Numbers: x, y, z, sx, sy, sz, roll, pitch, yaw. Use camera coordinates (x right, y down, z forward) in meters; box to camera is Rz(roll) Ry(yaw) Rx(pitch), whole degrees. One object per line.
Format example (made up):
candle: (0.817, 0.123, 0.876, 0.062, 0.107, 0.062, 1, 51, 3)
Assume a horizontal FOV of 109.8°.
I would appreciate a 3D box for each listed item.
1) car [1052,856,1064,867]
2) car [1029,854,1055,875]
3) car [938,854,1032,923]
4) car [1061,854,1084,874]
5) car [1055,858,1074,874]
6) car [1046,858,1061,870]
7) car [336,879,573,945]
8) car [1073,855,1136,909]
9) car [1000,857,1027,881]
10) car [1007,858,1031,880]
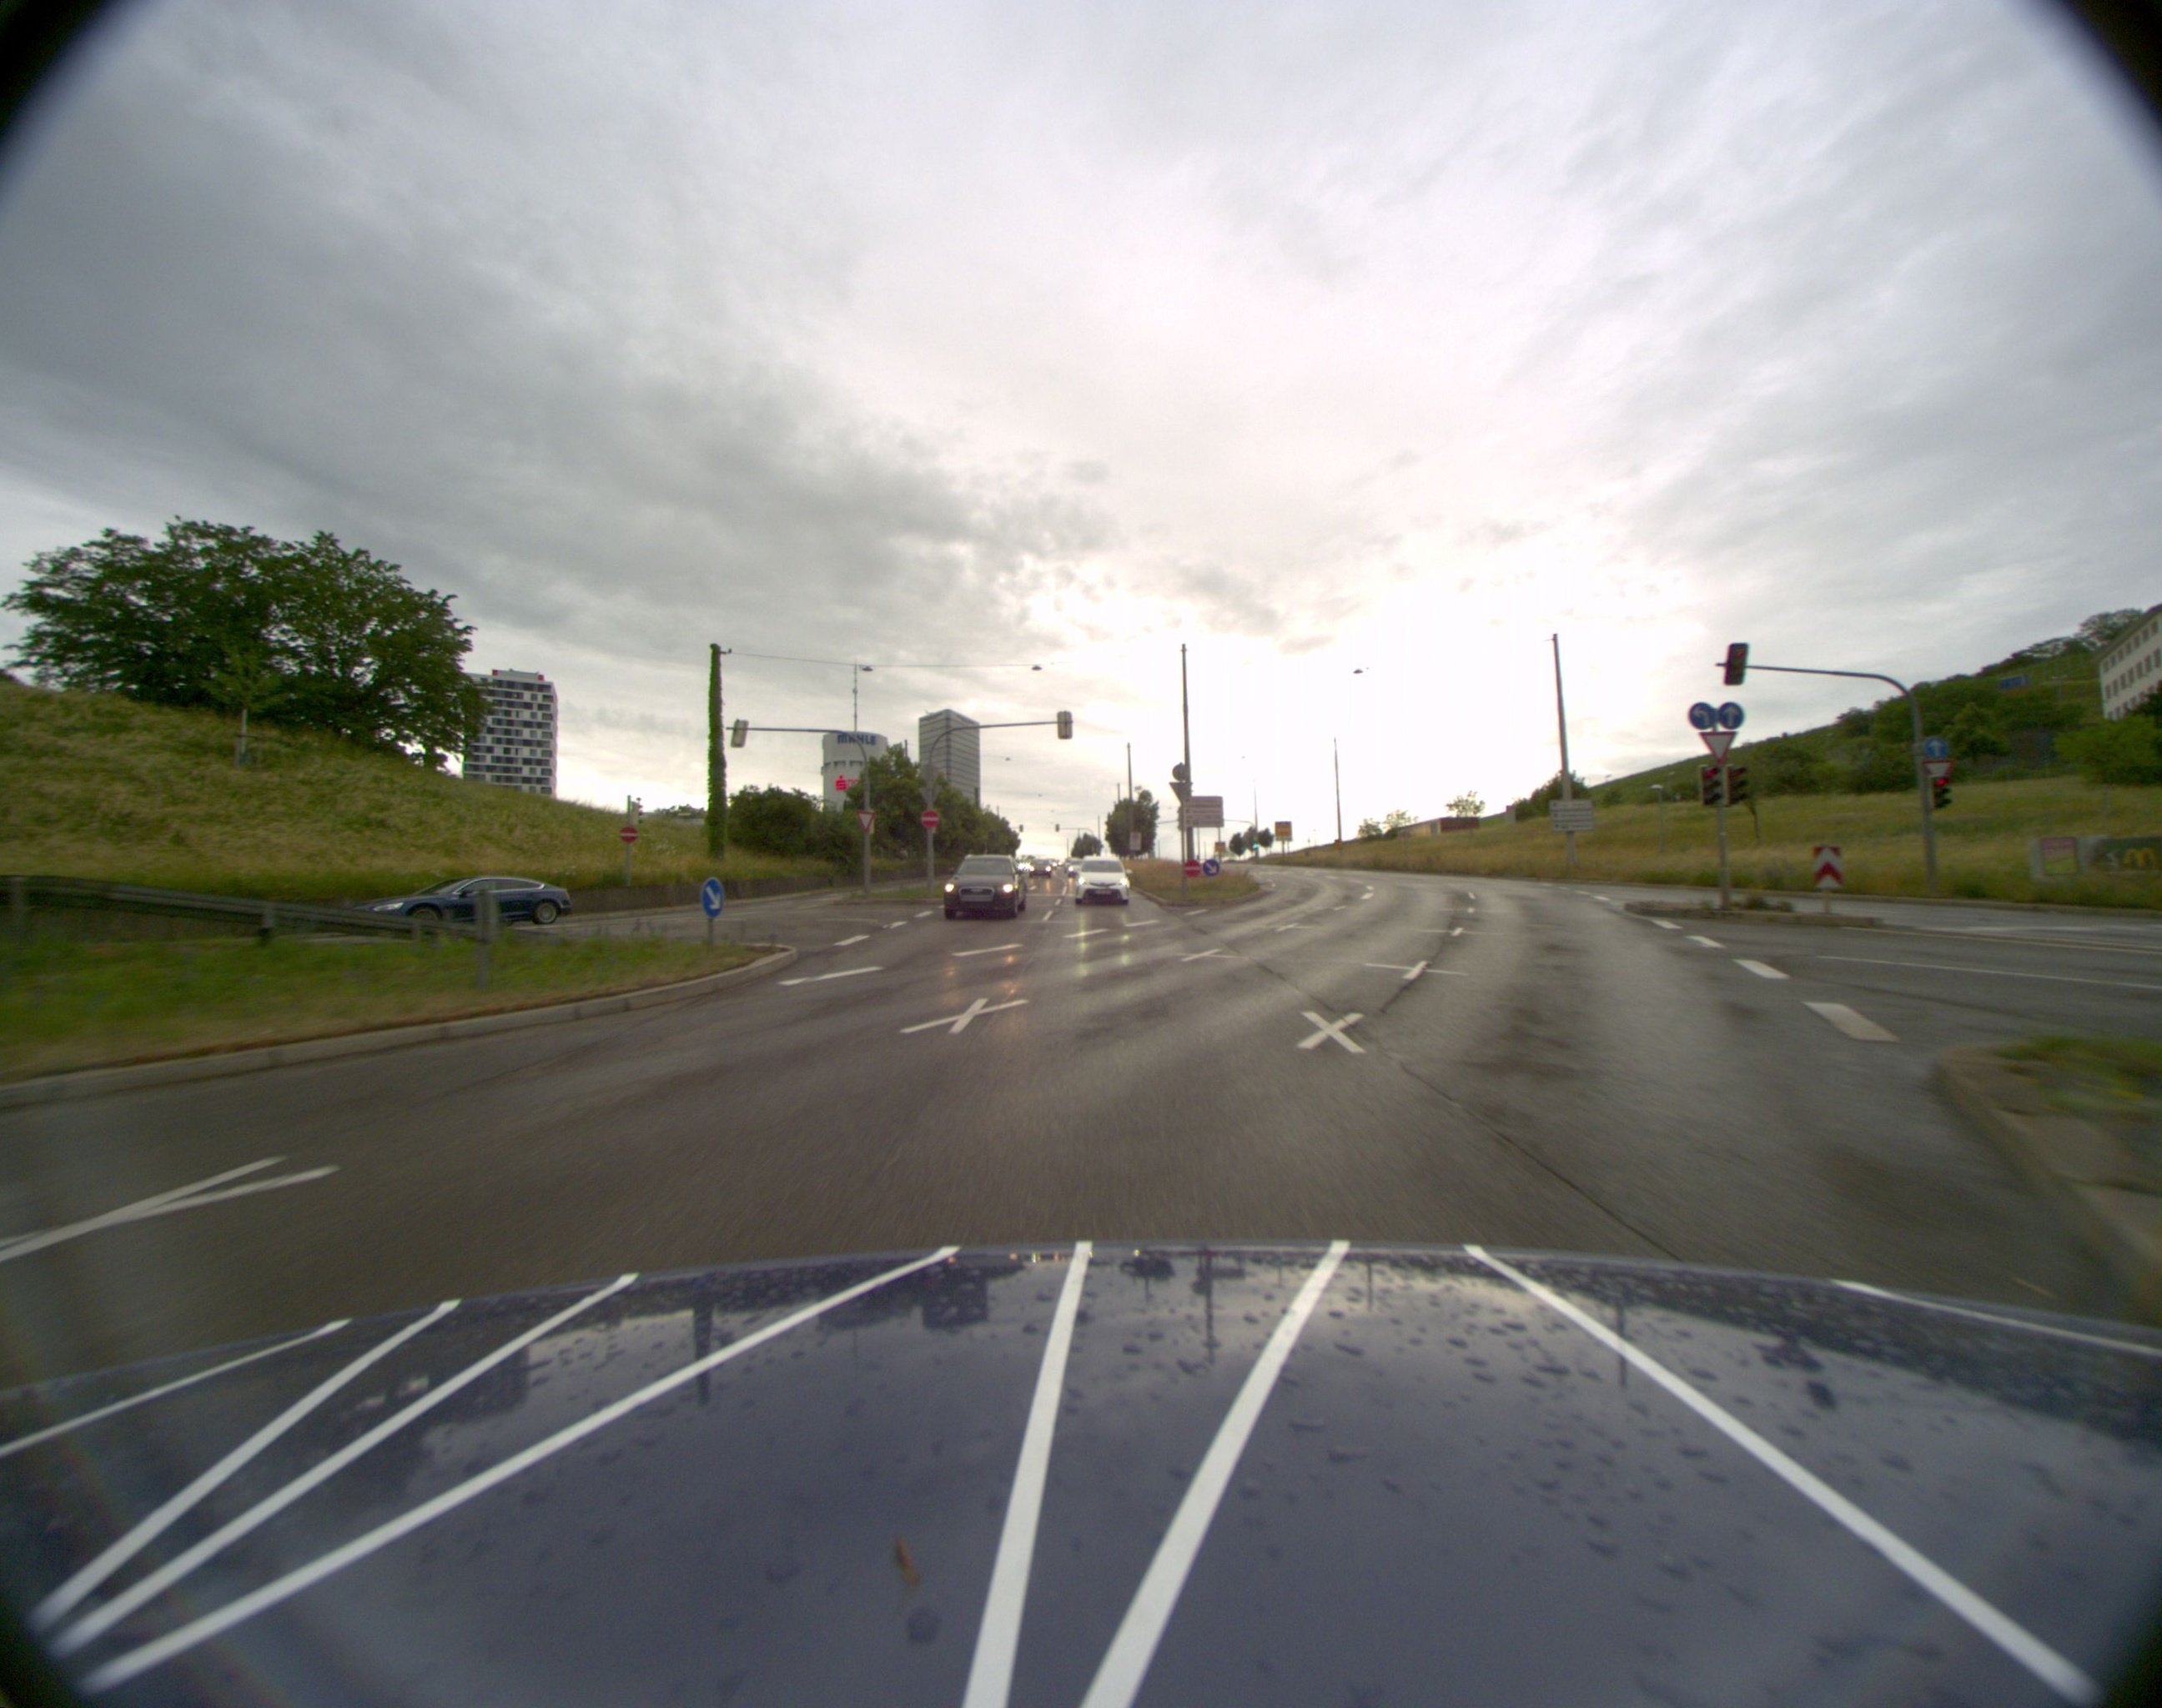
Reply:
car: (-4.233, 1.400, 139.224, 1.999, 2.002, 4.000, -1, 0, 0)
car: (-3.031, 0.810, 60.118, 1.782, 1.591, 3.900, 0, -1, 1)
car: (-2.440, 0.848, 20.300, 1.928, 1.591, 4.279, -2, -1, 0)
car: (-0.634, 0.817, 62.753, 1.782, 1.591, 4.120, 0, -1, 1)
car: (-1.743, 1.250, 81.105, 1.782, 1.591, 4.120, 0, -1, 1)
car: (-3.539, 1.282, 99.547, 1.782, 1.591, 4.120, 0, -1, 1)
car: (-15.215, 1.336, 18.779, 1.780, 1.342, 4.233, -1, -1, 17)
car: (0.794, 0.926, 26.208, 1.924, 1.603, 4.376, 2, -1, 2)
car: (-5.864, 1.292, 66.112, 1.999, 2.002, 4.000, -1, 0, 0)
car: (-5.891, 1.389, 72.628, 1.999, 2.002, 4.000, -1, 0, 0)
